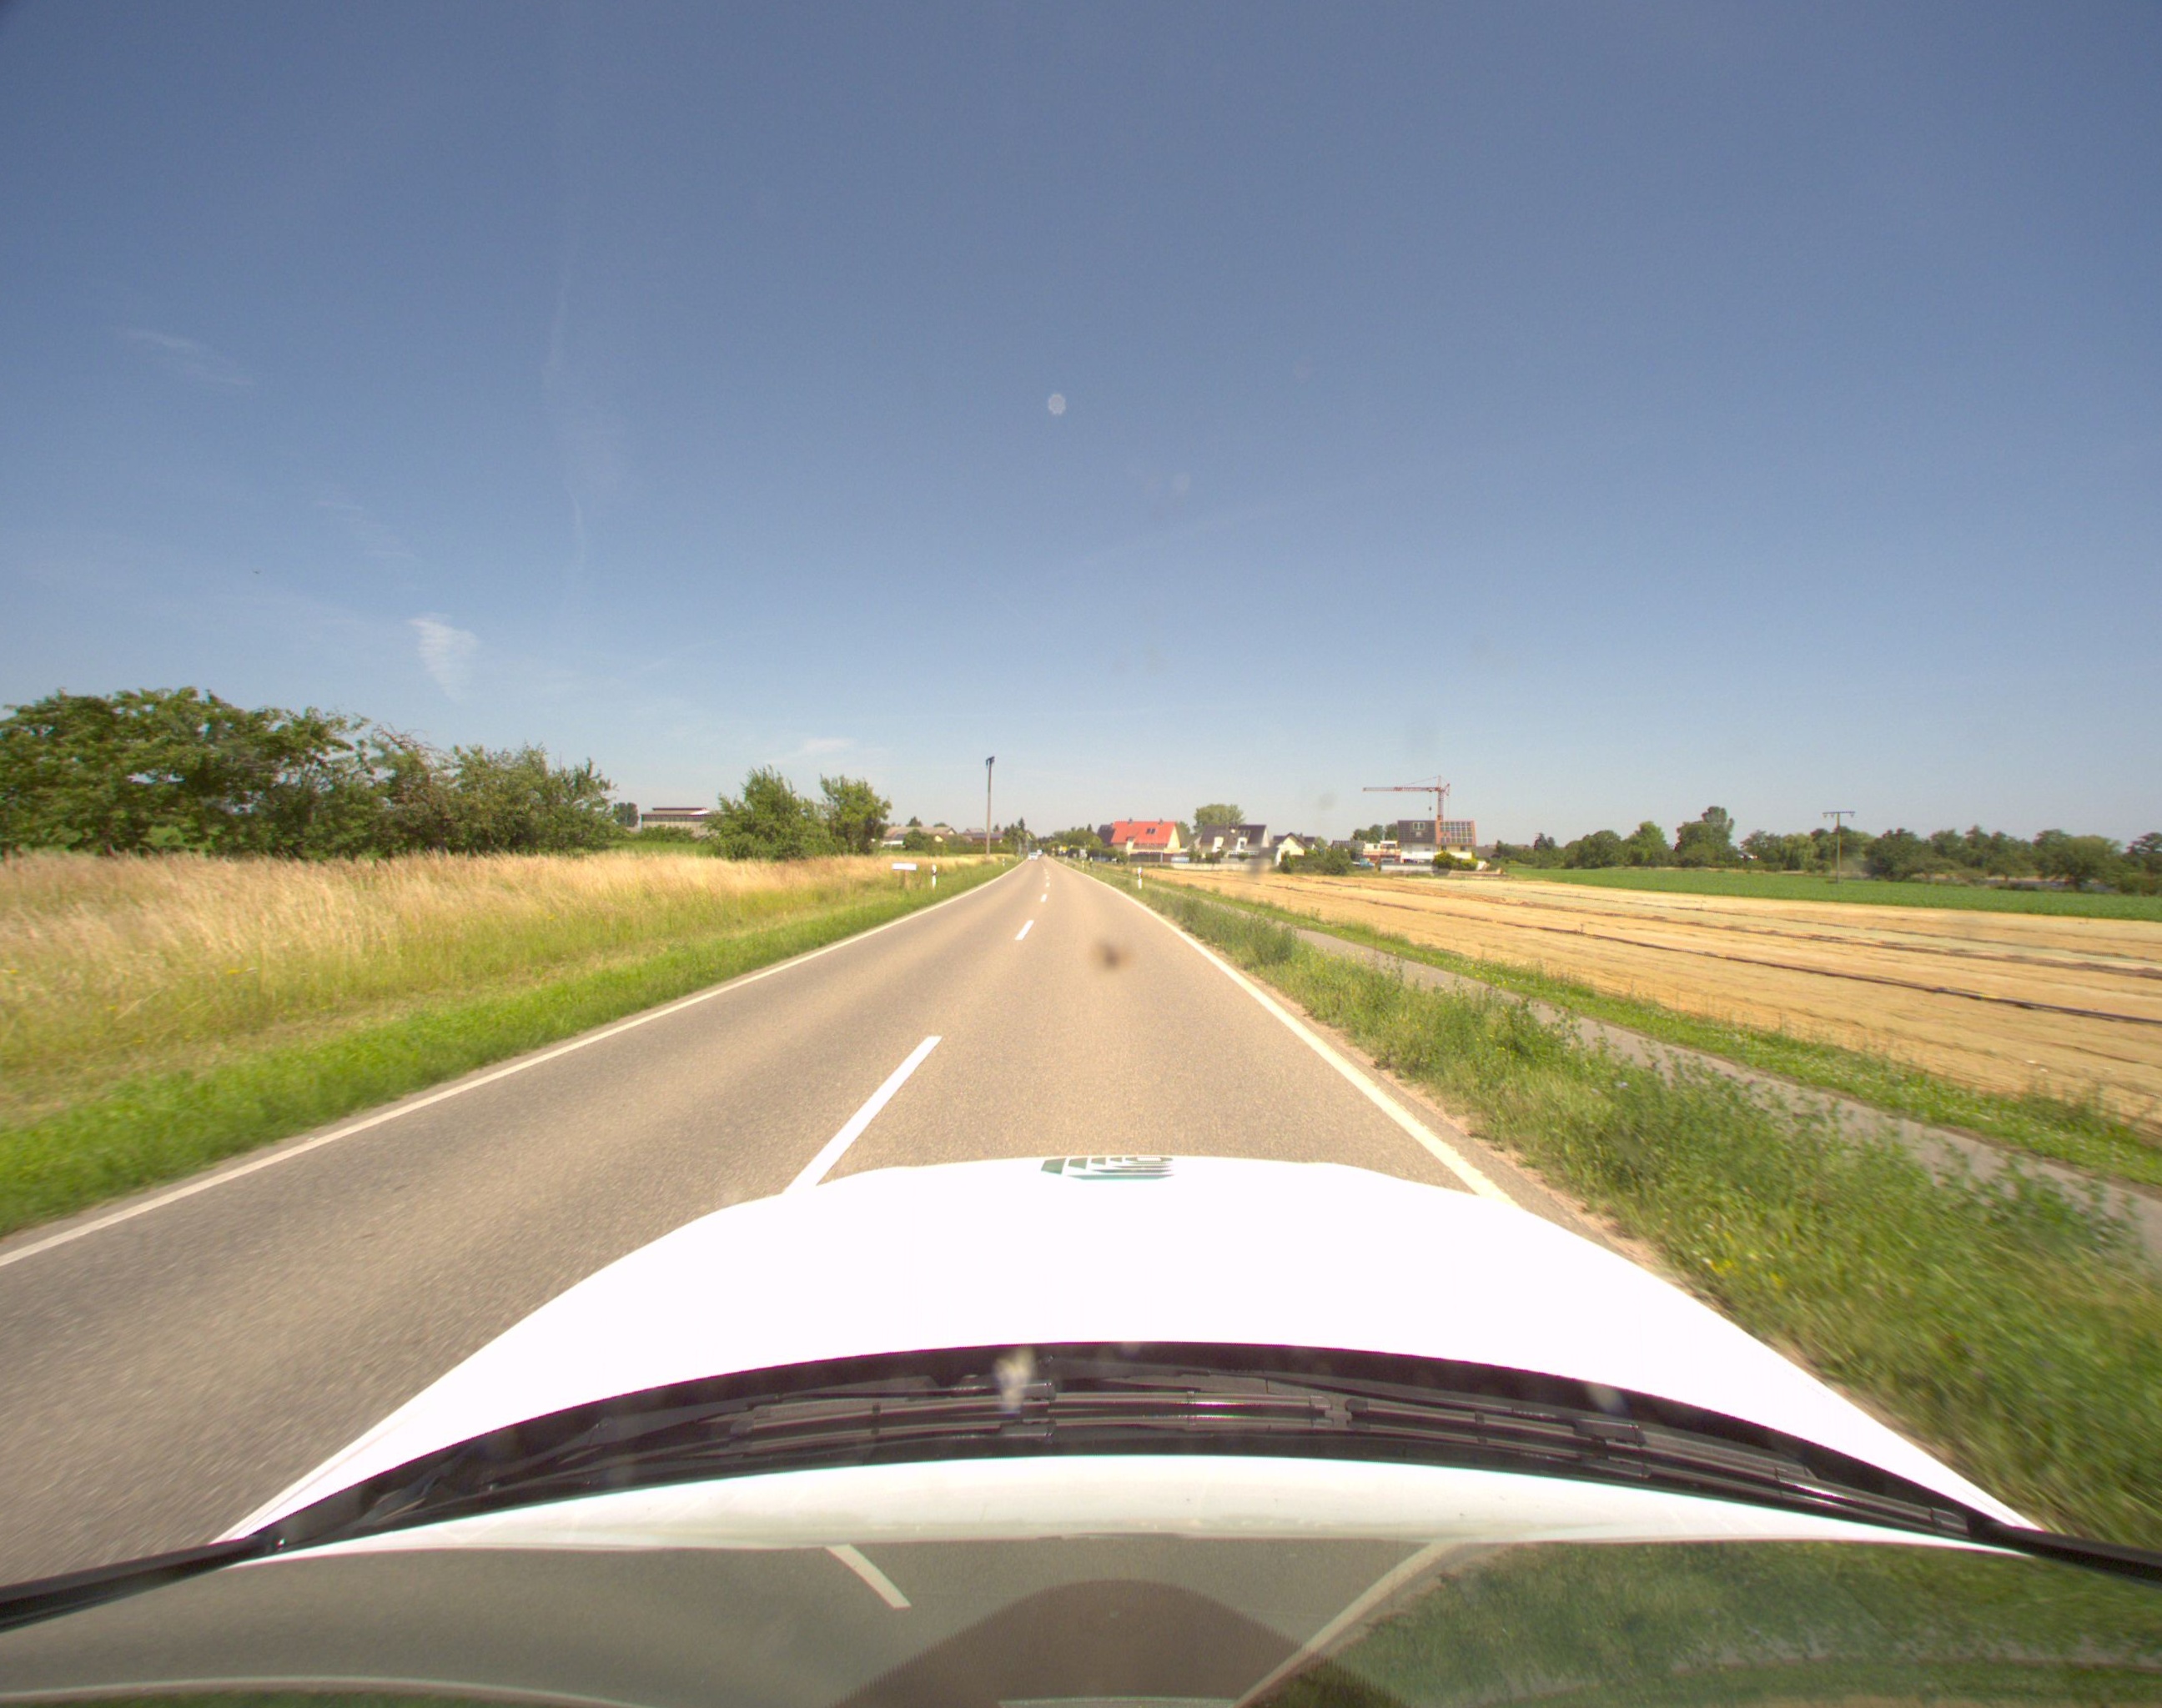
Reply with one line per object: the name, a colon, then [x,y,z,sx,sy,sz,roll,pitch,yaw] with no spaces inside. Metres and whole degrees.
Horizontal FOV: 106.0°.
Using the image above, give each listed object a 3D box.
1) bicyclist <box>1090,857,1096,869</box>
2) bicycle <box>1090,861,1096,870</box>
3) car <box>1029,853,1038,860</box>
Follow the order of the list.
bicyclist: [1.820,1.359,122.661,0.643,1.889,0.860,3,1,-4]
bicycle: [1.808,1.738,122.619,0.609,1.158,2.271,3,1,-4]
car: [-9.562,0.509,162.764,1.788,1.409,4.180,0,0,-3]
